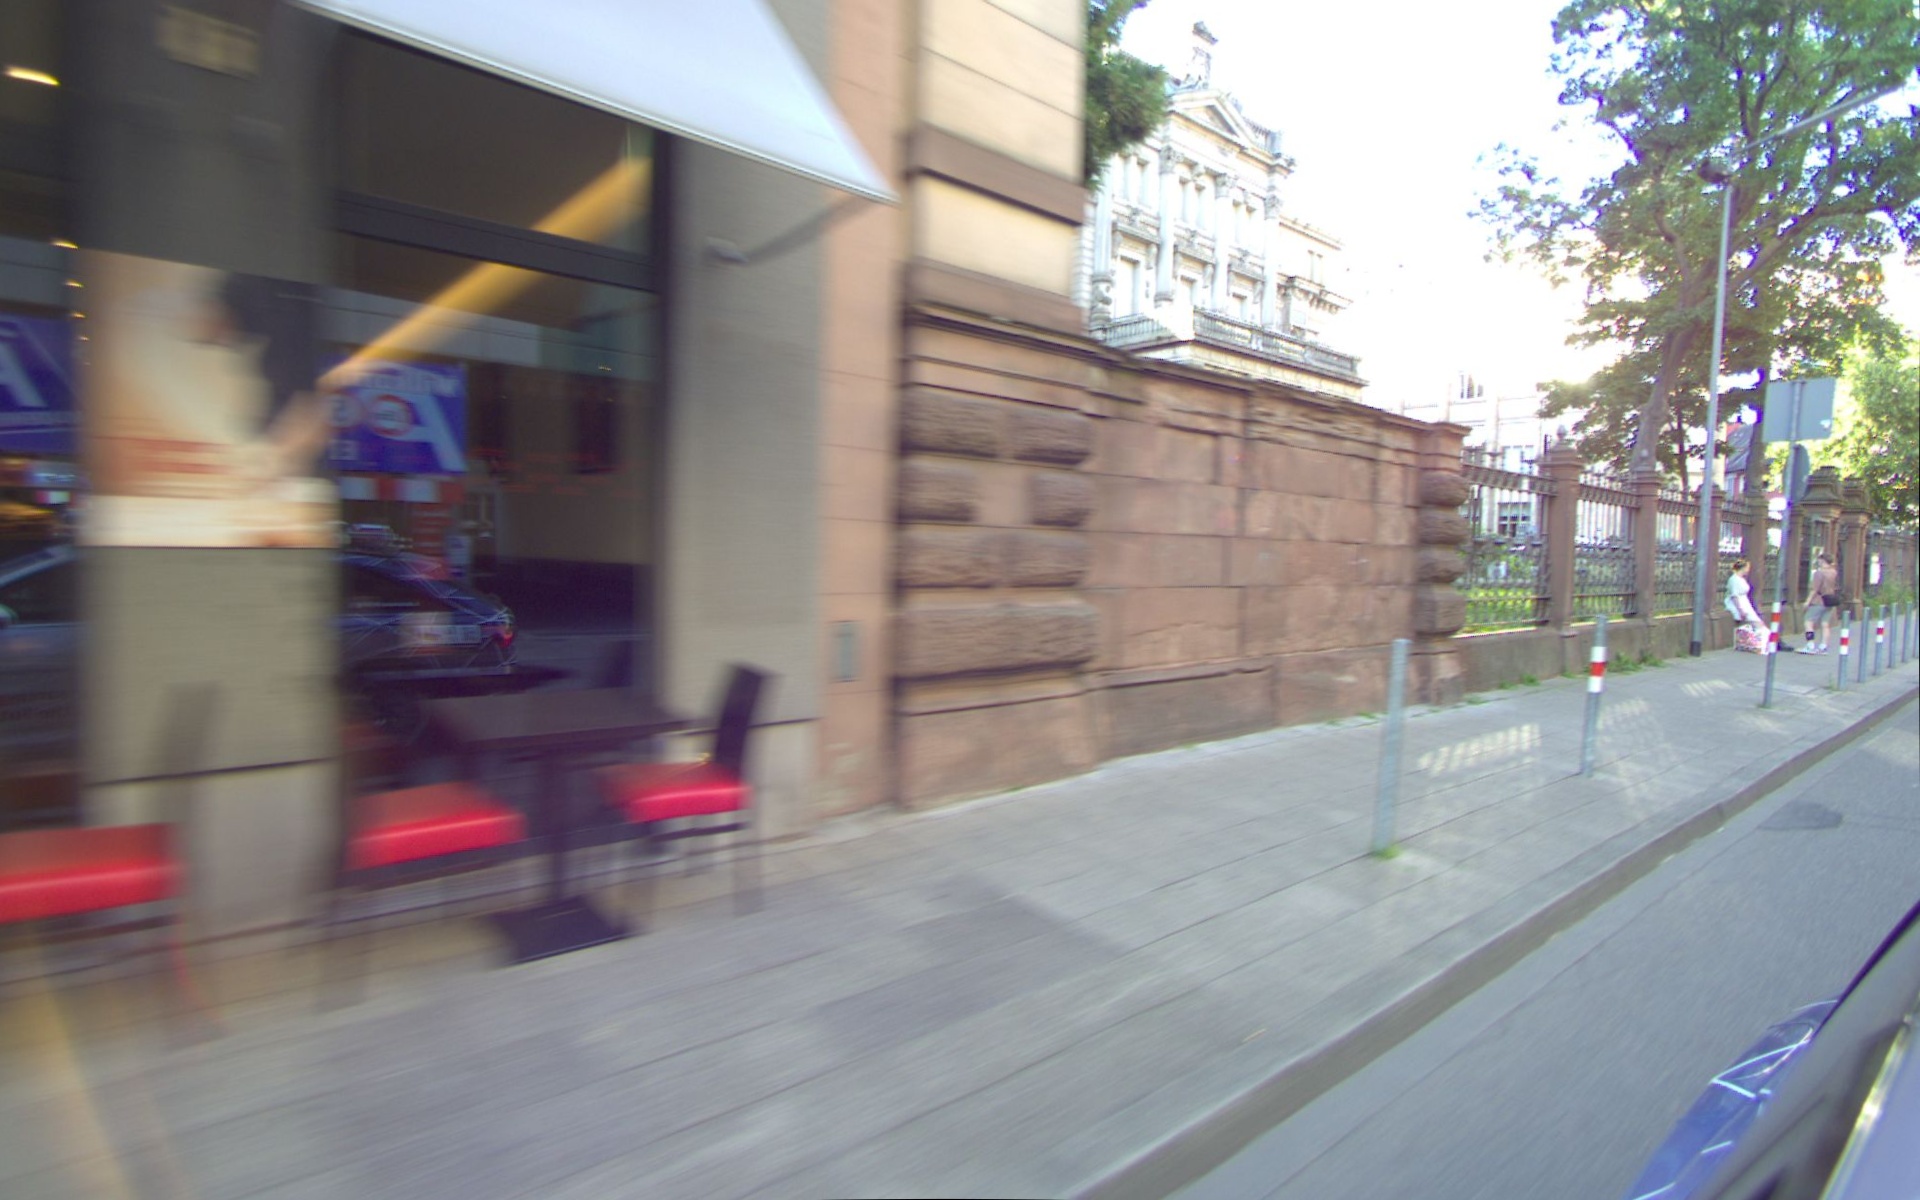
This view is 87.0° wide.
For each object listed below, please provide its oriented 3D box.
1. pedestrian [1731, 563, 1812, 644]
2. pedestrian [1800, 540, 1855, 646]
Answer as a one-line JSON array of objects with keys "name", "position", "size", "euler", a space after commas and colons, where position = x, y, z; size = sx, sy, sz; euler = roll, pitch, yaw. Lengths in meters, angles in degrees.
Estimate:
[{"name": "pedestrian", "position": [13.402, 0.041, 16.723], "size": [0.356, 1.264, 0.927], "euler": [-1, 5, -43]}, {"name": "pedestrian", "position": [14.018, -0.117, 16.350], "size": [0.546, 1.666, 0.439], "euler": [0, 4, -34]}]
